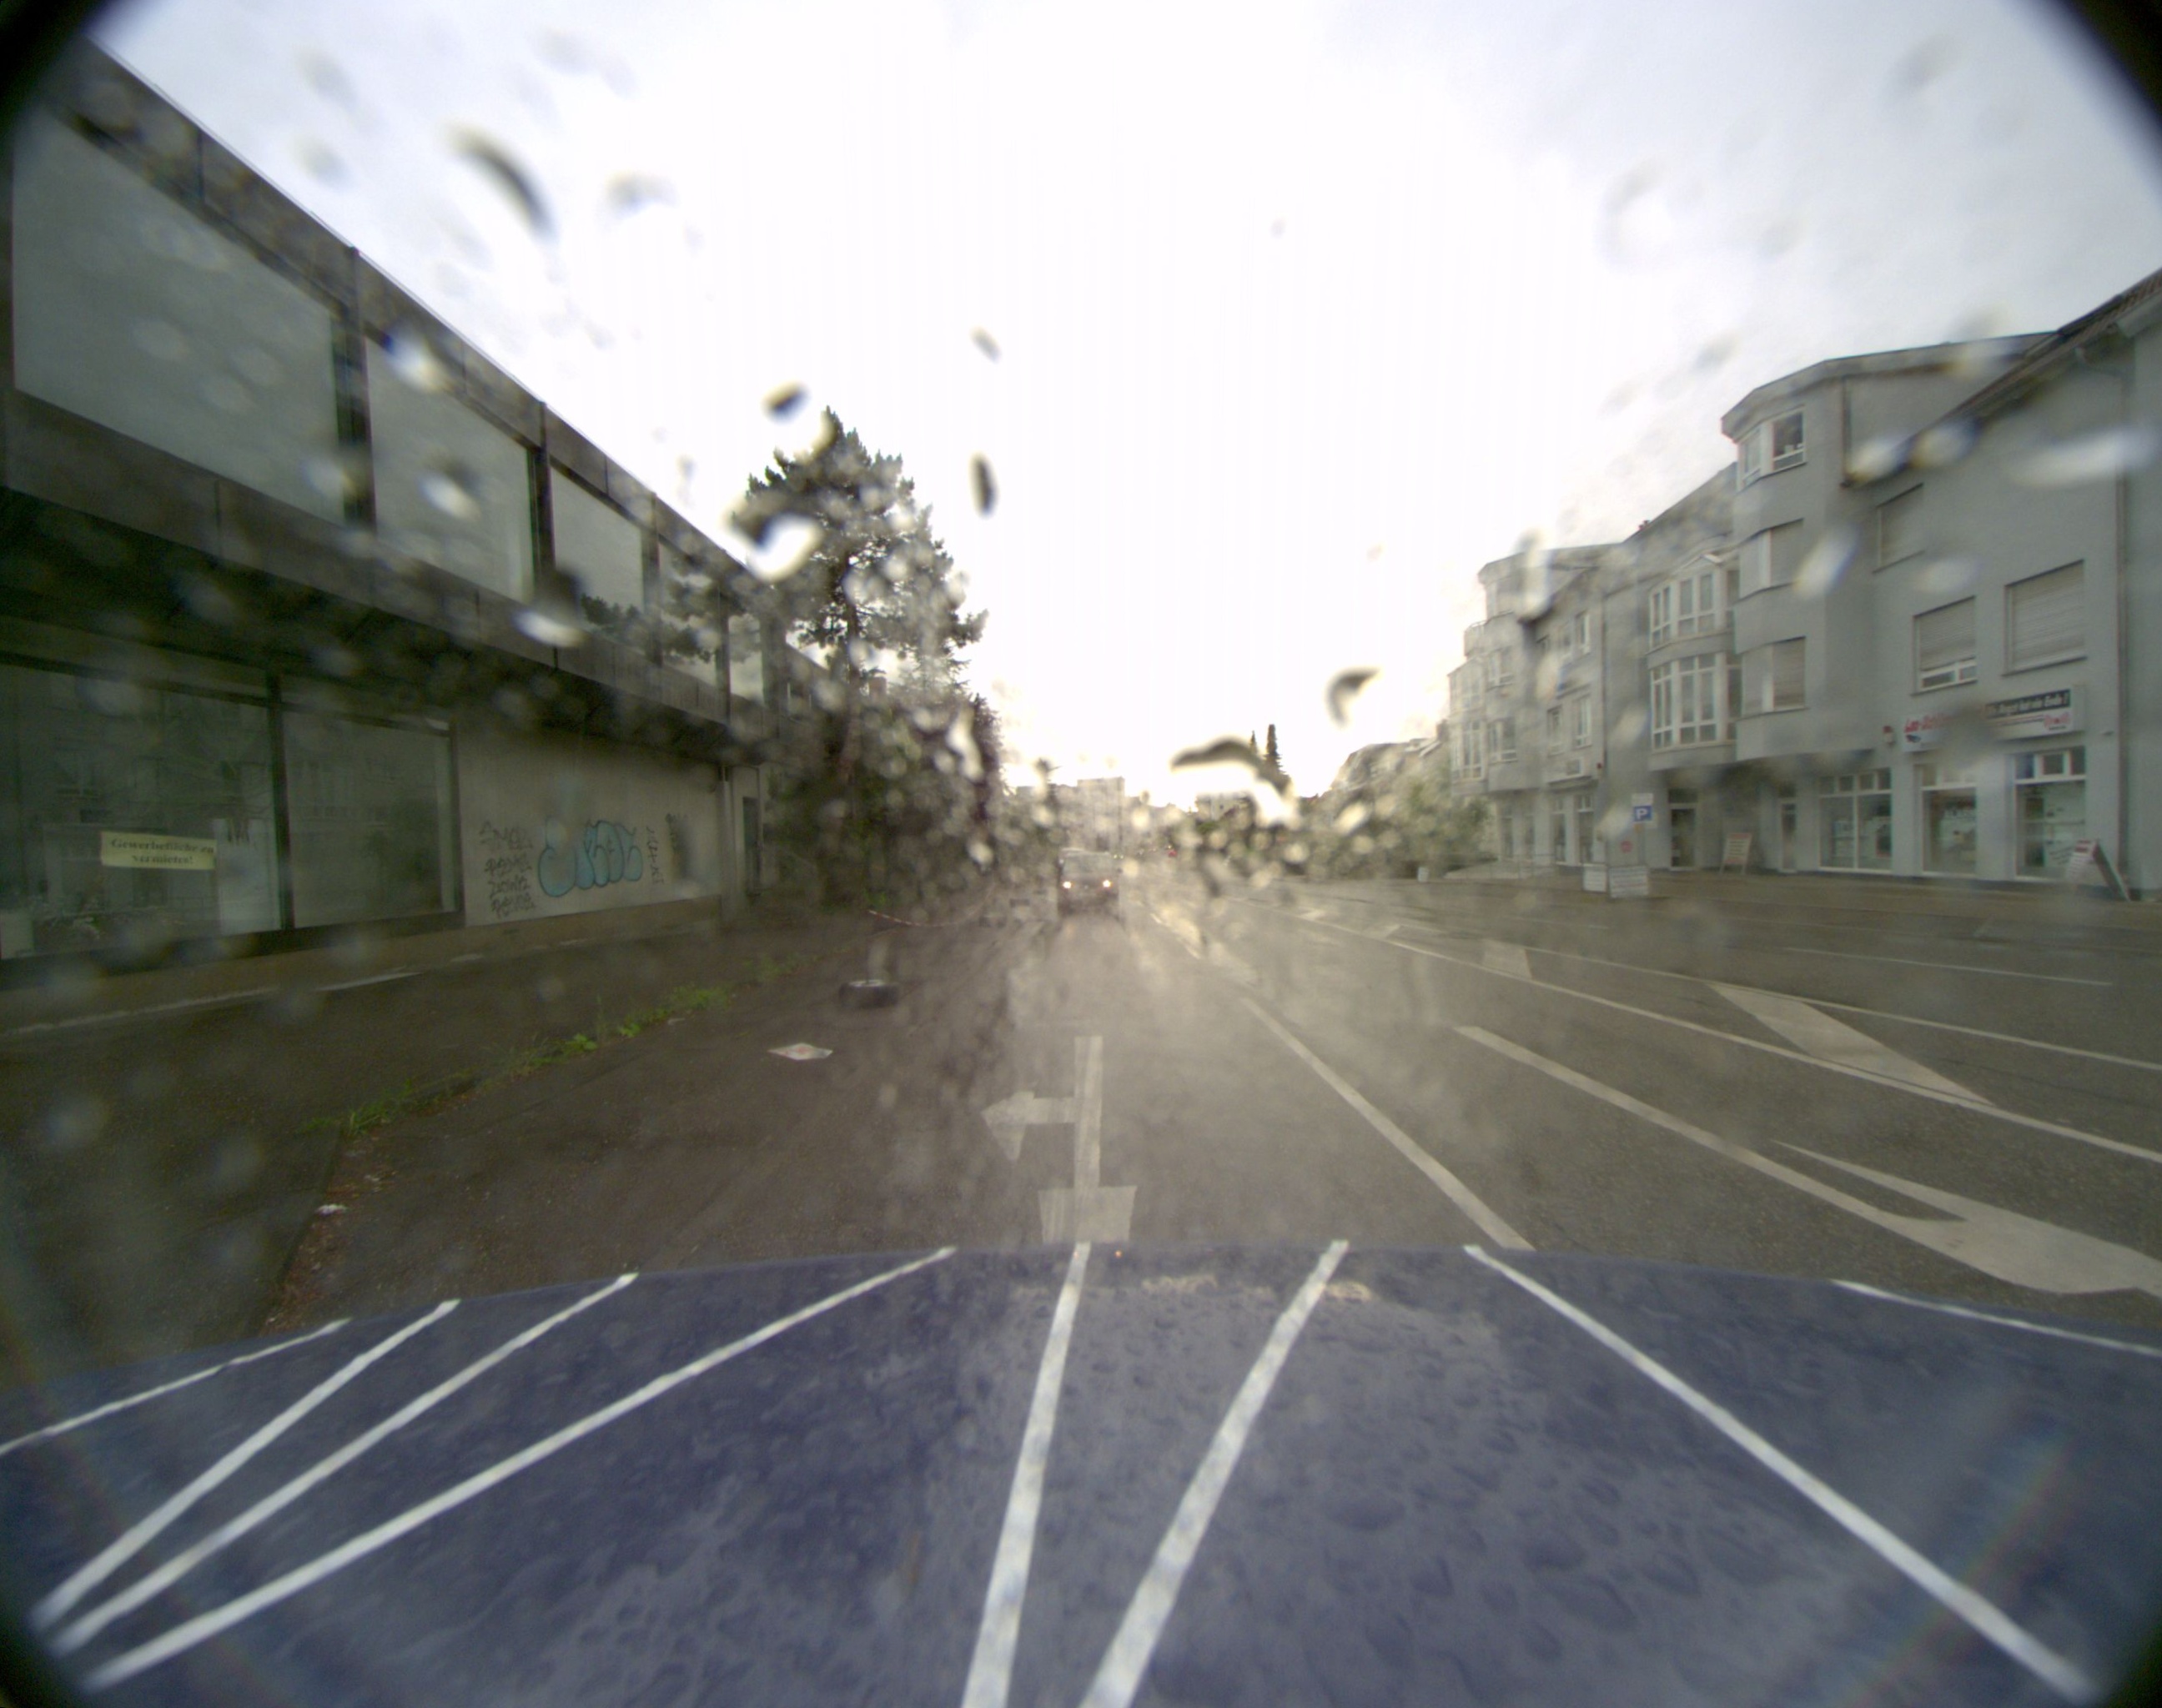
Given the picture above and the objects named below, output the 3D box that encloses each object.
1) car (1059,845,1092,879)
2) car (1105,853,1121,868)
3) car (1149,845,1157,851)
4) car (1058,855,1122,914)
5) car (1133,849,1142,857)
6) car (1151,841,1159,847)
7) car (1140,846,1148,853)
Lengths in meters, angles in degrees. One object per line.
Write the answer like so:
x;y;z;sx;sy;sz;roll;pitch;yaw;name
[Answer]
-0.339;0.476;50.419;1.998;2.072;3.999;-2;1;1;car
4.021;0.816;95.888;1.803;1.675;3.999;-2;1;1;car
21.692;-1.783;228.311;1.997;1.808;4.002;-2;1;8;car
0.278;0.847;23.348;1.754;1.534;4.676;-1;1;1;car
13.853;-0.197;186.784;1.998;1.723;3.999;-2;1;1;car
23.564;-3.315;241.906;1.996;1.808;4.003;-2;1;14;car
17.198;-1.148;206.668;1.997;1.774;4.002;-2;1;8;car
